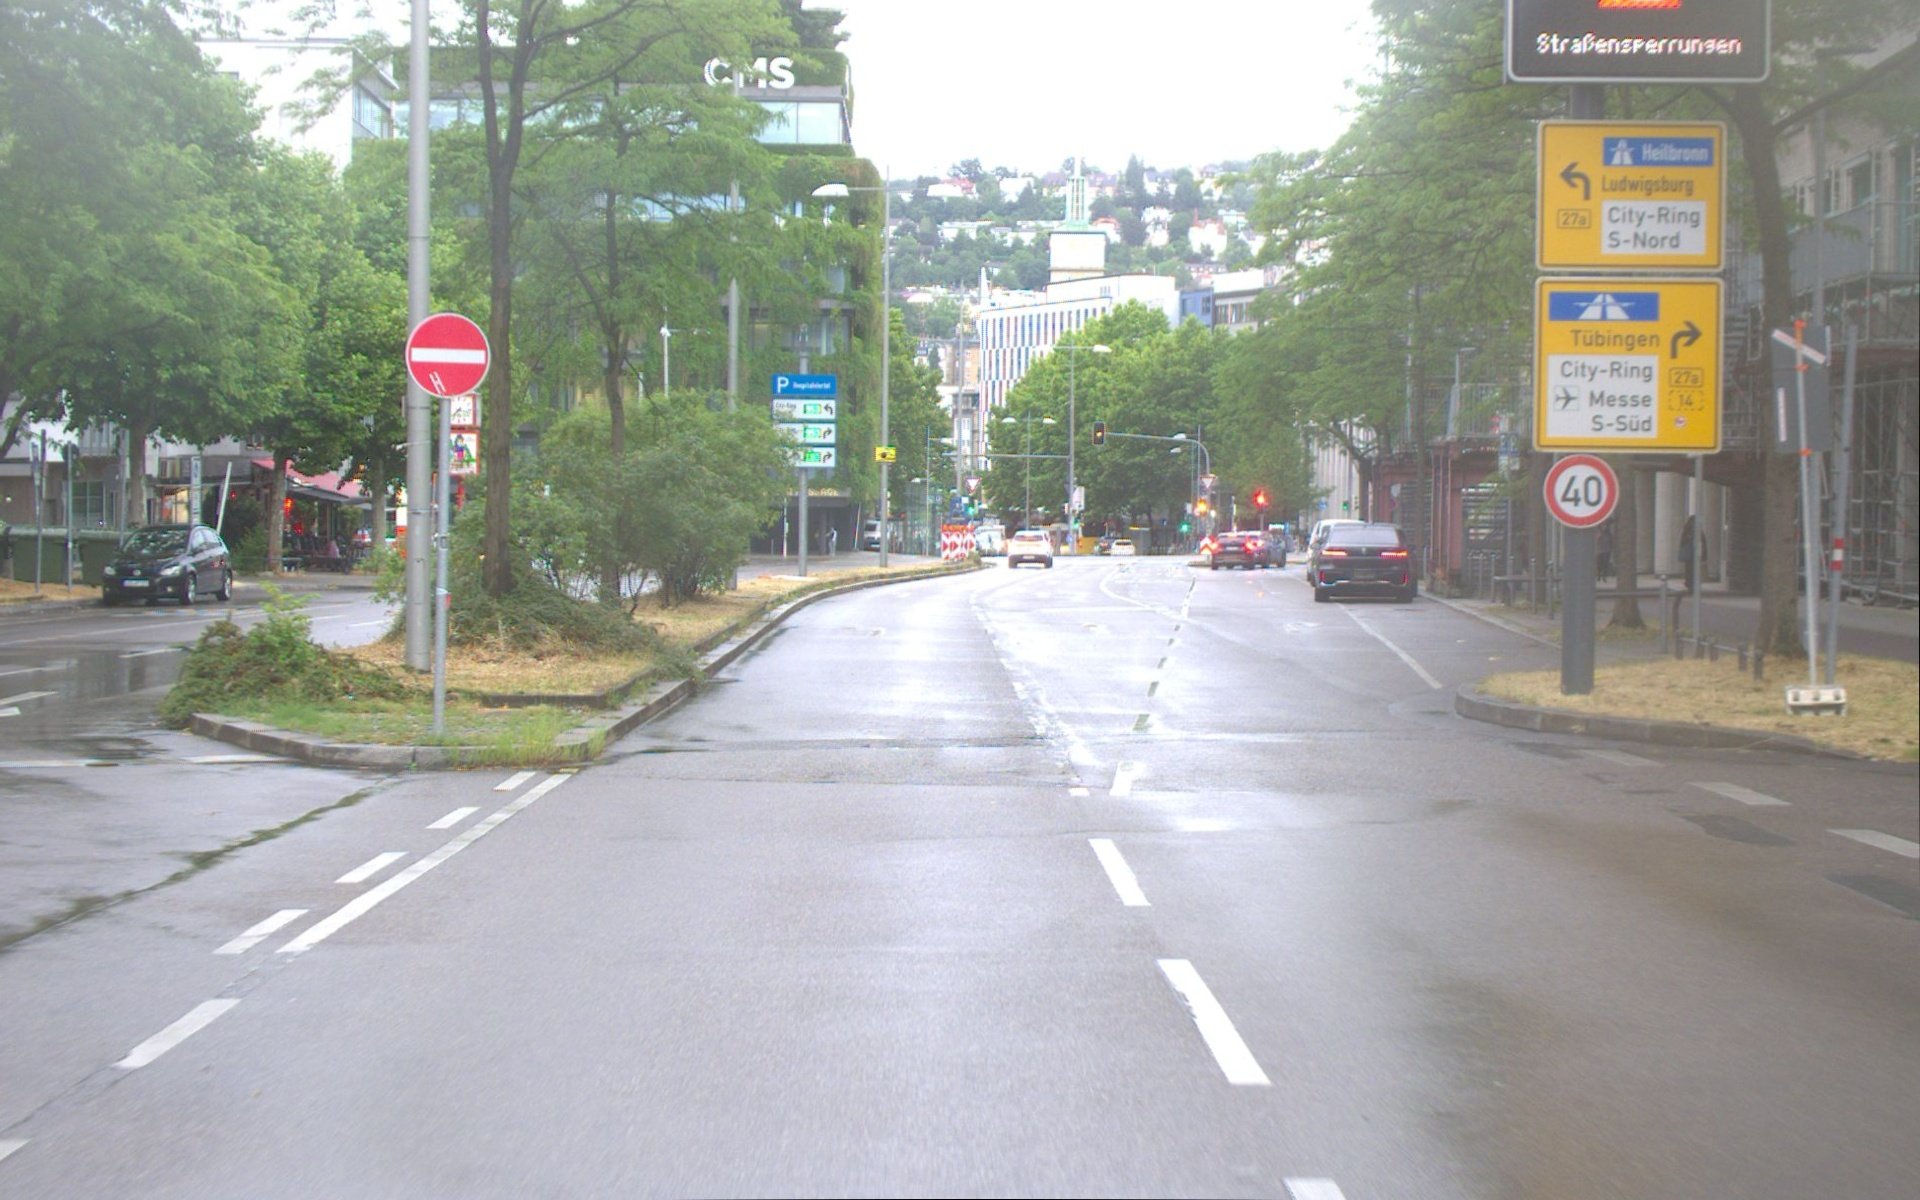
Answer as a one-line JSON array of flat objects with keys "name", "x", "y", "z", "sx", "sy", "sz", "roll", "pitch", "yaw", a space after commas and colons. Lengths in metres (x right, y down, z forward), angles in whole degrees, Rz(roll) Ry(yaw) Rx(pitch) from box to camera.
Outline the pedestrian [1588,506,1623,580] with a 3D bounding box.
[{"name": "pedestrian", "x": 16.714, "y": -1.479, "z": 89.029, "sx": 0.775, "sy": 1.914, "sz": 0.702, "roll": 0, "pitch": 0, "yaw": -1}]

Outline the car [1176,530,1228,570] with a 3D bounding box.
[{"name": "car", "x": 10.754, "y": -2.207, "z": 152.798, "sx": 1.993, "sy": 1.730, "sz": 4.000, "roll": 0, "pitch": 0, "yaw": 0}]

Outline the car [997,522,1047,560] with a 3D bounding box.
[{"name": "car", "x": 2.759, "y": -2.608, "z": 152.809, "sx": 1.828, "sy": 1.634, "sz": 4.301, "roll": 1, "pitch": 1, "yaw": -4}]

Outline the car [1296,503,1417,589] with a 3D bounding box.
[{"name": "car", "x": 8.000, "y": -1.104, "z": 69.414, "sx": 2.339, "sy": 1.685, "sz": 3.999, "roll": 0, "pitch": 1, "yaw": 7}]

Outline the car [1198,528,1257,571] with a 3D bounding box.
[{"name": "car", "x": 11.005, "y": -2.067, "z": 141.635, "sx": 1.993, "sy": 1.718, "sz": 4.000, "roll": 0, "pitch": 0, "yaw": -1}]
